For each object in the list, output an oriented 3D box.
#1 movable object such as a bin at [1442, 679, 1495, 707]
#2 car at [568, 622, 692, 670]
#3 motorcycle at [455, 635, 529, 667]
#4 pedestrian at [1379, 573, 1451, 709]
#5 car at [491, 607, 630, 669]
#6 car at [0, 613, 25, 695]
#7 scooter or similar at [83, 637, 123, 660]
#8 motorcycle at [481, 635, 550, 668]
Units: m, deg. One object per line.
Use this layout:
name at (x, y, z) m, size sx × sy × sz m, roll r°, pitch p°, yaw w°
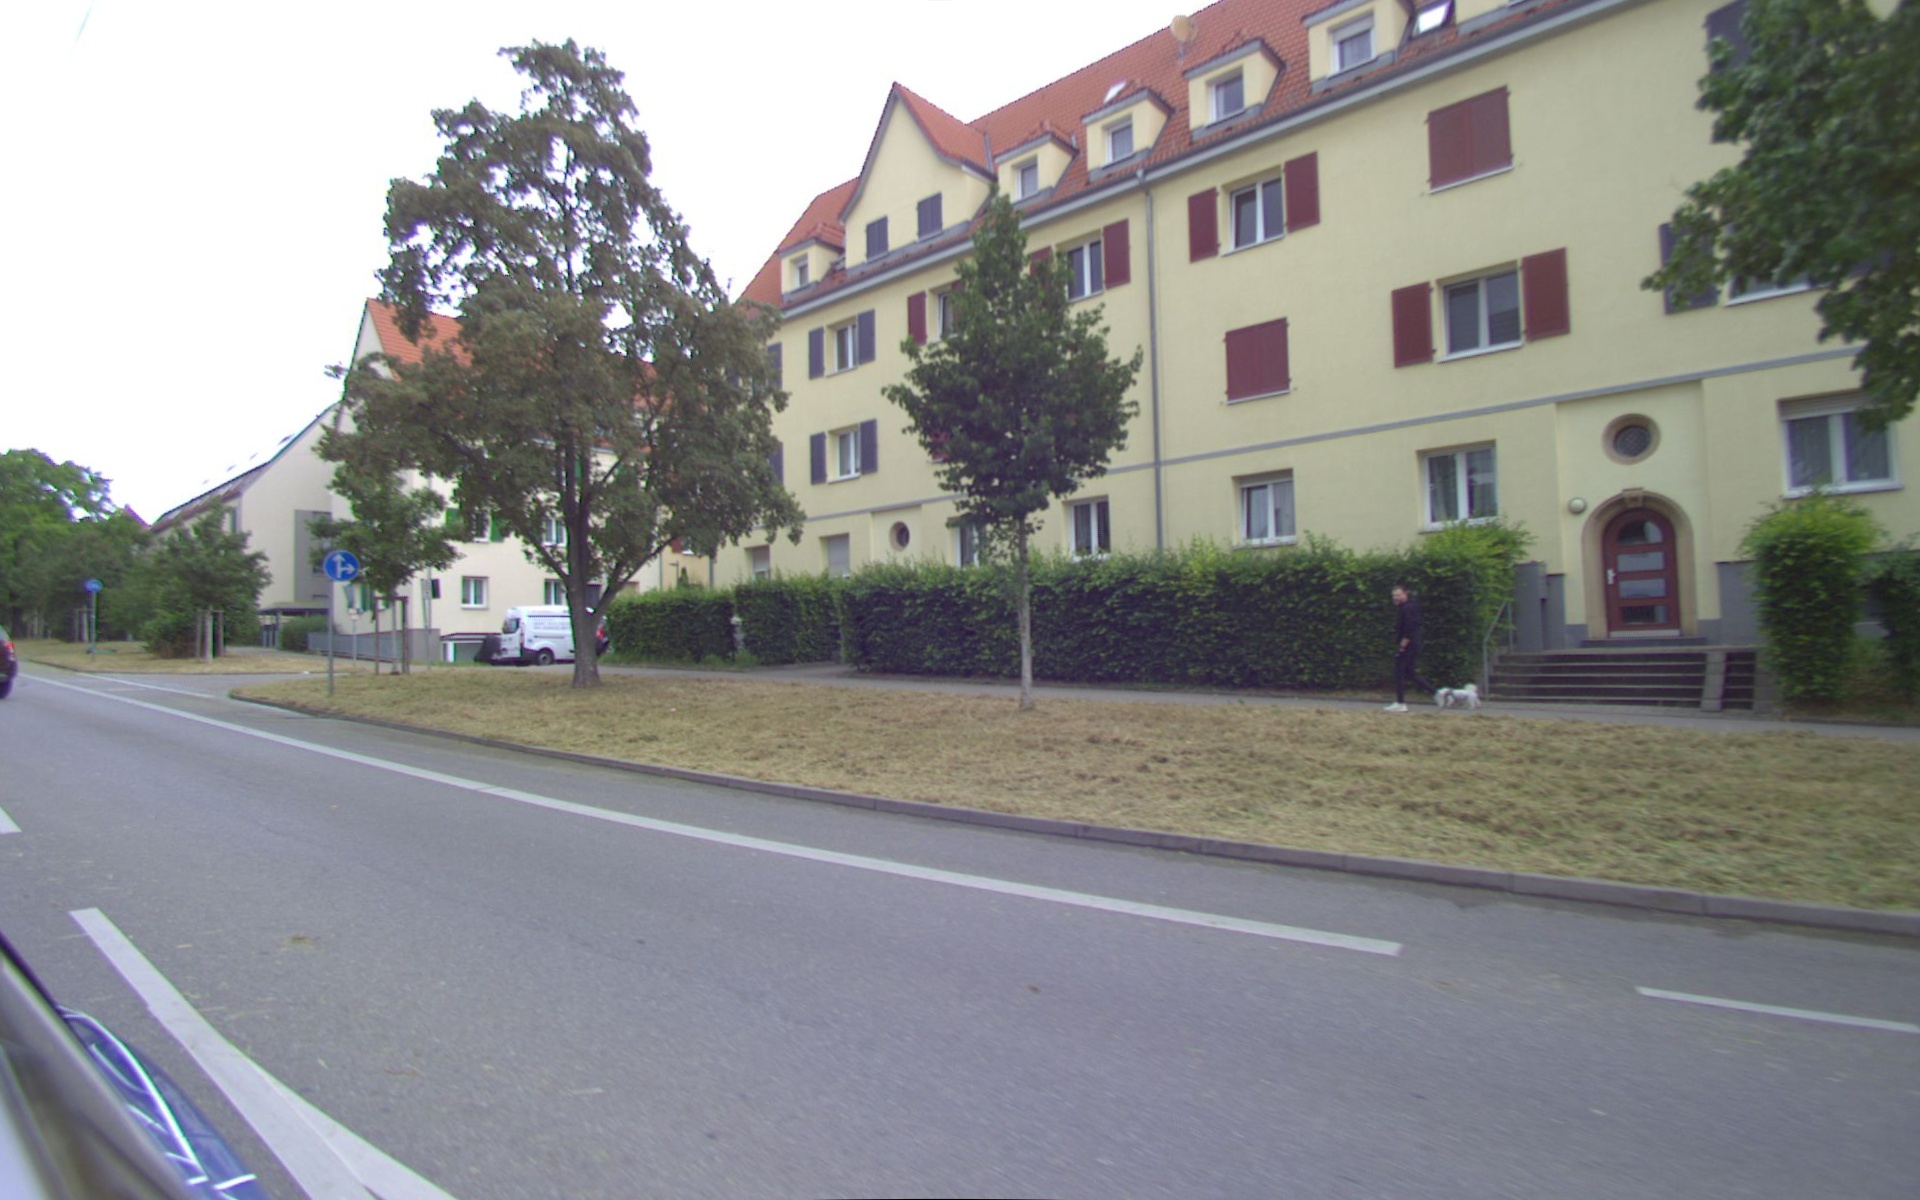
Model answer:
movable object such as a bin at (7.093, 1.291, 14.120) m, size 0.303 × 0.350 × 0.582 m, roll 1°, pitch -2°, yaw -43°
car at (-11.713, 1.618, 36.118) m, size 1.690 × 1.542 × 3.864 m, roll -6°, pitch -5°, yaw 40°
motorcycle at (-18.867, 2.056, 40.878) m, size 2.561 × 1.288 × 1.020 m, roll 1°, pitch -2°, yaw -16°
pedestrian at (6.203, 0.548, 13.806) m, size 0.753 × 1.793 × 0.508 m, roll -2°, pitch -2°, yaw 41°
car at (-15.539, 1.462, 39.570) m, size 1.994 × 2.270 × 4.668 m, roll -2°, pitch -2°, yaw 41°
car at (-21.337, 1.097, 20.492) m, size 4.332 × 1.632 × 1.891 m, roll -1°, pitch -2°, yaw 22°
scooter or similar at (-41.162, 2.329, 48.621) m, size 0.466 × 1.094 × 1.357 m, roll -2°, pitch -3°, yaw 36°
motorcycle at (-18.524, 2.127, 42.246) m, size 2.561 × 1.288 × 1.020 m, roll 0°, pitch -2°, yaw -16°
